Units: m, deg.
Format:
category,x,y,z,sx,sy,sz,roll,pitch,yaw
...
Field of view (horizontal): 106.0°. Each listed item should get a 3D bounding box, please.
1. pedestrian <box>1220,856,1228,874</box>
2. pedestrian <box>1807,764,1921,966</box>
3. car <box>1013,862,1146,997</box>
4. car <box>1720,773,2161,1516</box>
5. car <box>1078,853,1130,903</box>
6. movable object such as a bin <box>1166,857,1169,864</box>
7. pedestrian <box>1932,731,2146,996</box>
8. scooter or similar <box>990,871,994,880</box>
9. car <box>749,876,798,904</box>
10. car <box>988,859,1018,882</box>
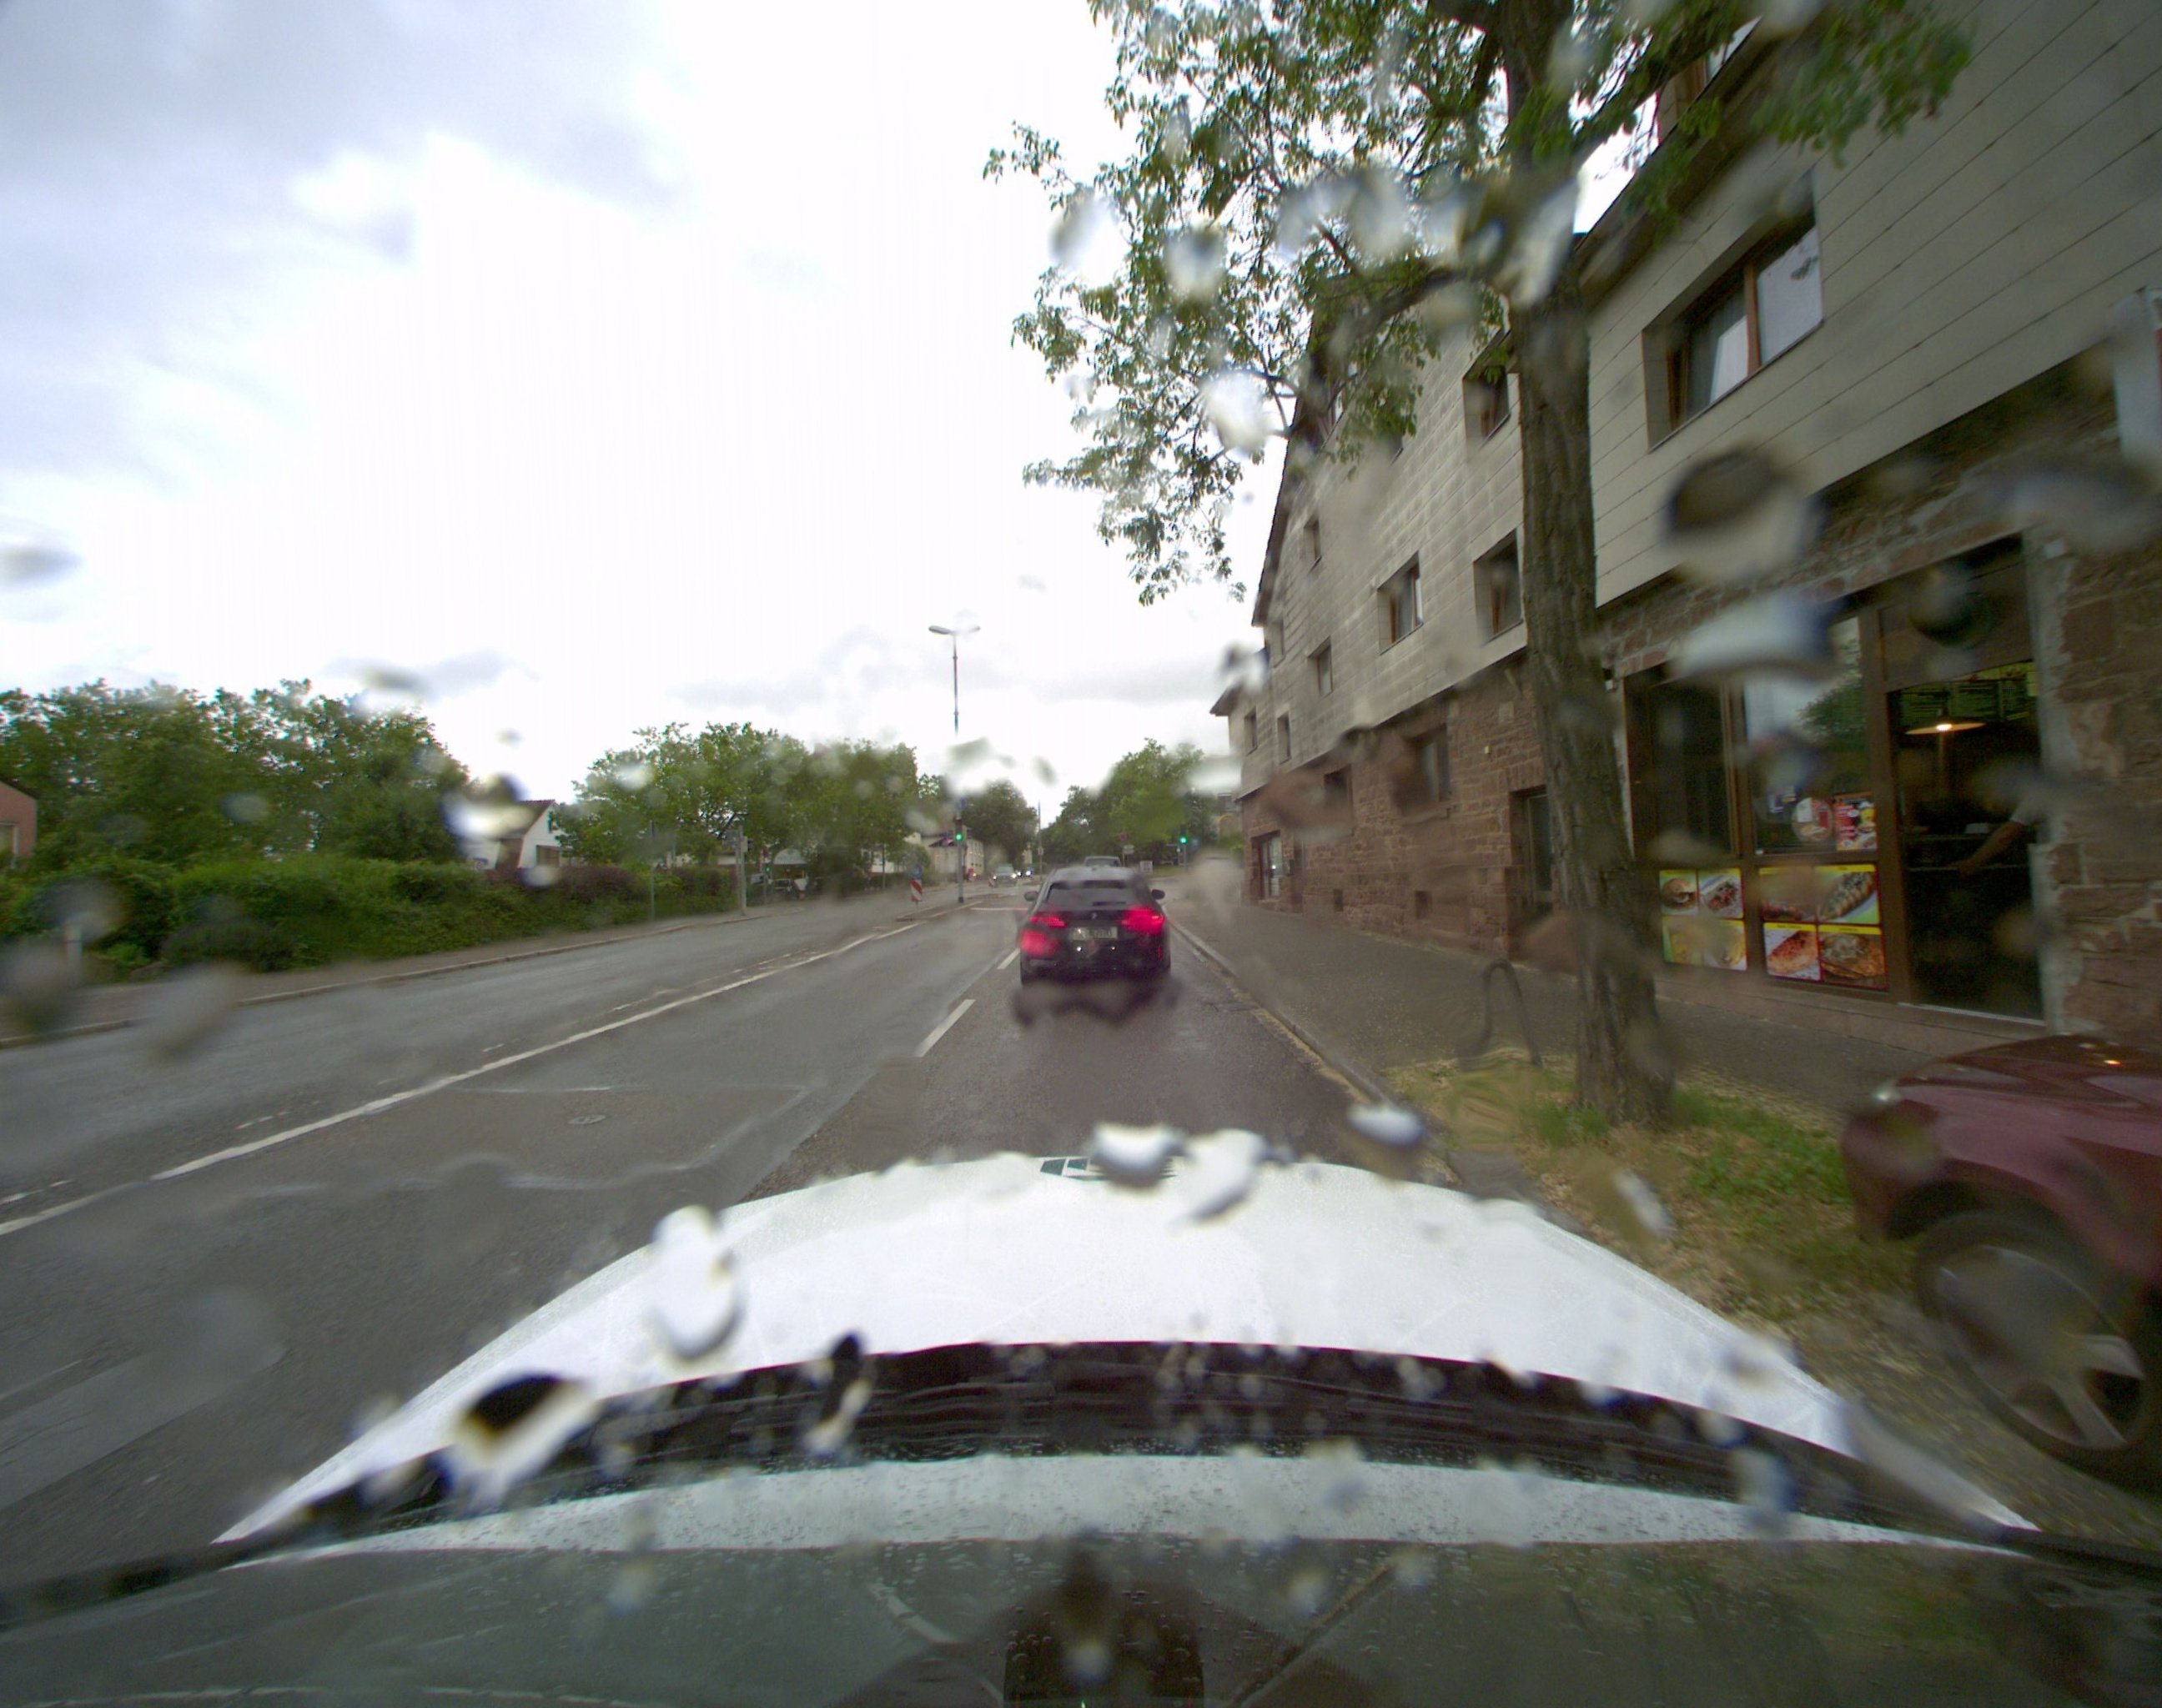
category,x,y,z,sx,sy,sz,roll,pitch,yaw
pedestrian,12.652,0.953,72.070,0.597,1.617,0.527,0,-2,8
pedestrian,6.650,0.095,6.936,0.490,1.660,0.454,0,-2,1
car,-0.050,0.900,11.071,1.519,1.534,3.529,0,-1,-1
car,3.008,0.547,0.877,1.606,1.504,3.753,0,-3,-1
car,0.814,0.915,31.268,1.807,1.809,3.754,0,-1,-1
movable object such as a bin,12.052,0.889,113.398,0.446,0.906,0.465,-1,-2,17
pedestrian,6.565,0.066,5.620,0.794,1.730,0.486,-1,-2,11
scooter or similar,-11.285,2.742,103.452,0.388,1.064,1.409,0,-1,-2
car,-21.114,2.464,56.031,1.803,1.551,4.000,0,2,0
car,-5.871,1.185,61.575,1.893,1.577,4.500,-2,0,-1
